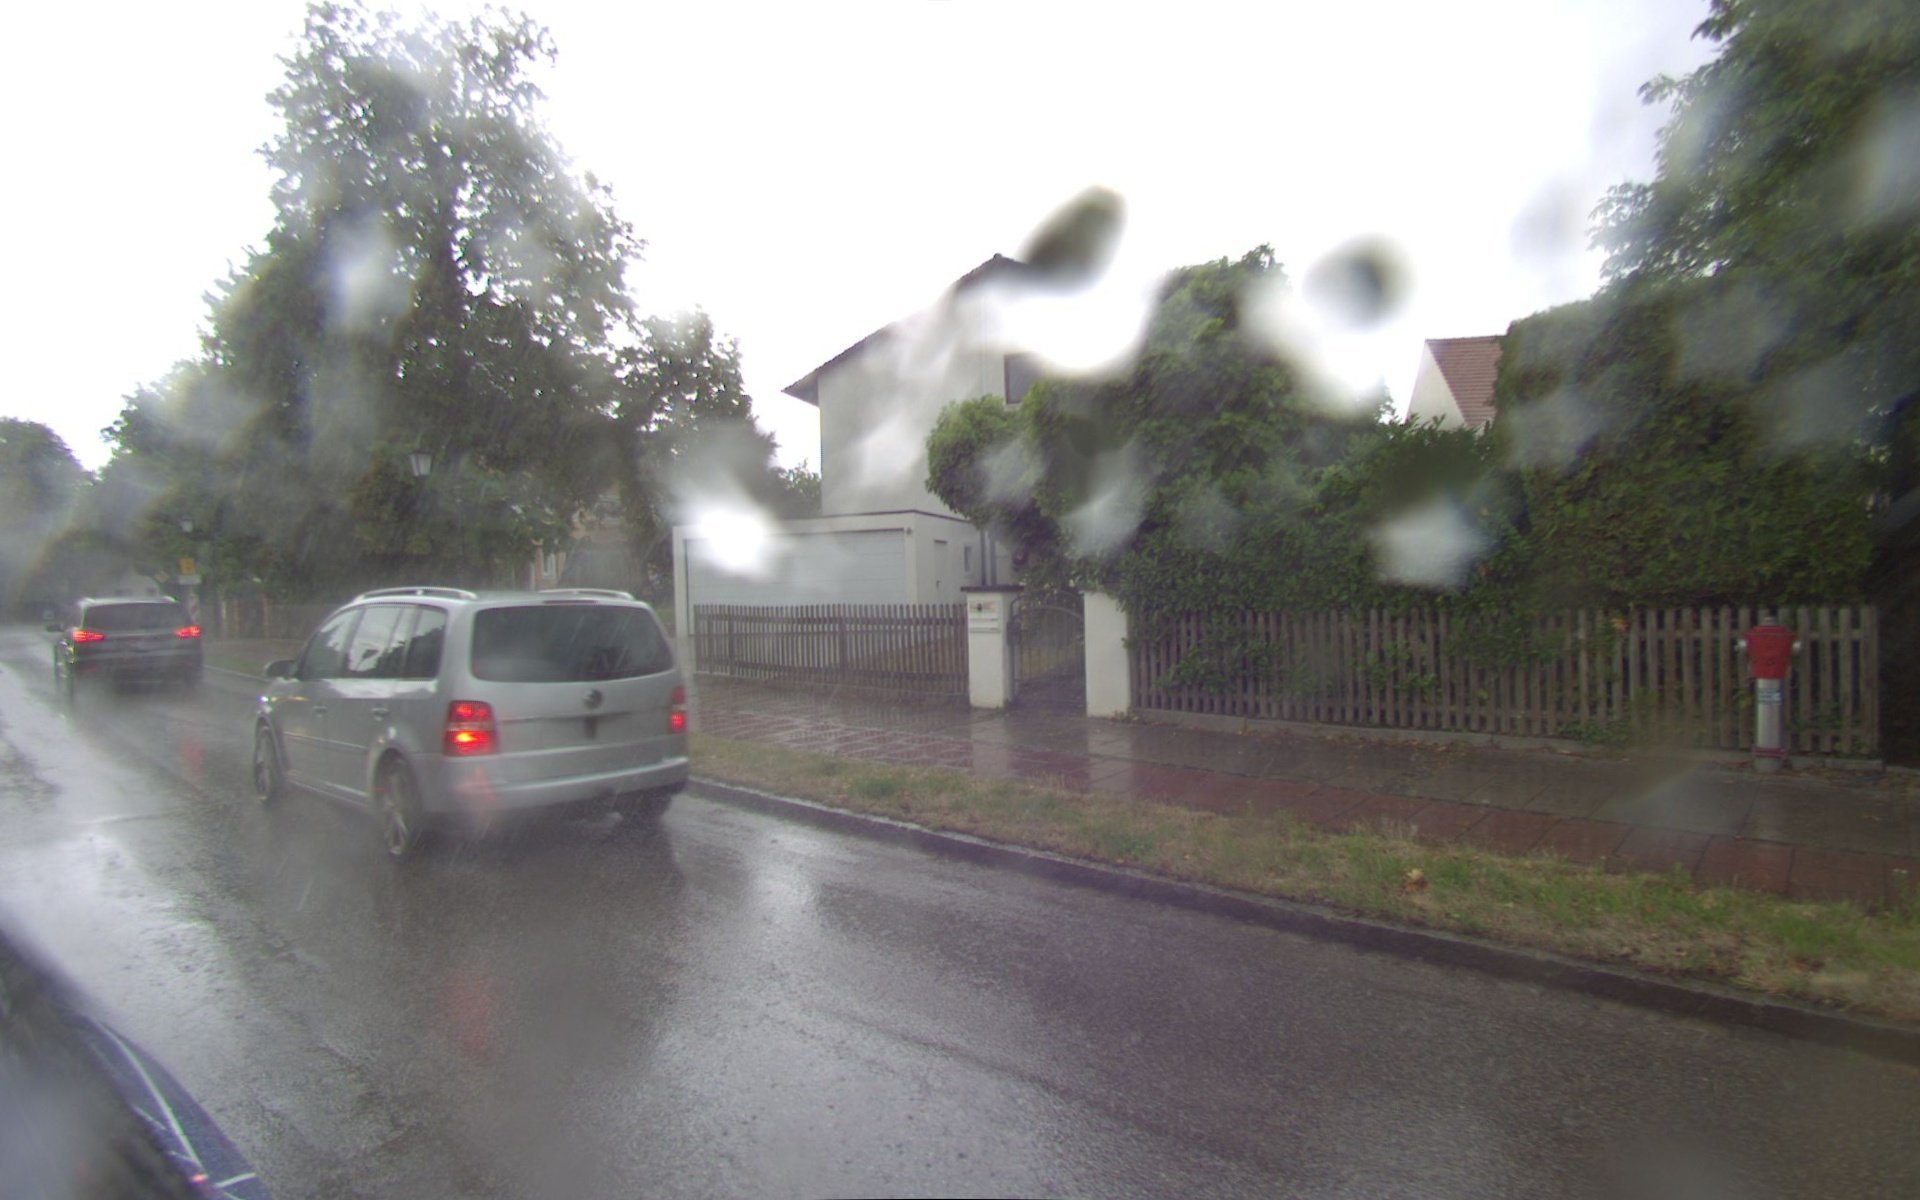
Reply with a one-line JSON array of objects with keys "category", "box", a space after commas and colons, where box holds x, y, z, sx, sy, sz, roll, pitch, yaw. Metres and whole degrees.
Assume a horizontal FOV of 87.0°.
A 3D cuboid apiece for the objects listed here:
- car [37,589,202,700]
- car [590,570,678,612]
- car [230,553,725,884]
[{"category": "car", "box": [-15.240, 0.720, 18.267, 4.194, 1.757, 1.900, -1, 0, 45]}, {"category": "car", "box": [-16.102, -0.448, 50.094, 3.617, 1.815, 1.837, -3, 2, 11]}, {"category": "car", "box": [-3.574, 0.635, 7.167, 3.998, 1.690, 1.735, -1, -1, 41]}]
